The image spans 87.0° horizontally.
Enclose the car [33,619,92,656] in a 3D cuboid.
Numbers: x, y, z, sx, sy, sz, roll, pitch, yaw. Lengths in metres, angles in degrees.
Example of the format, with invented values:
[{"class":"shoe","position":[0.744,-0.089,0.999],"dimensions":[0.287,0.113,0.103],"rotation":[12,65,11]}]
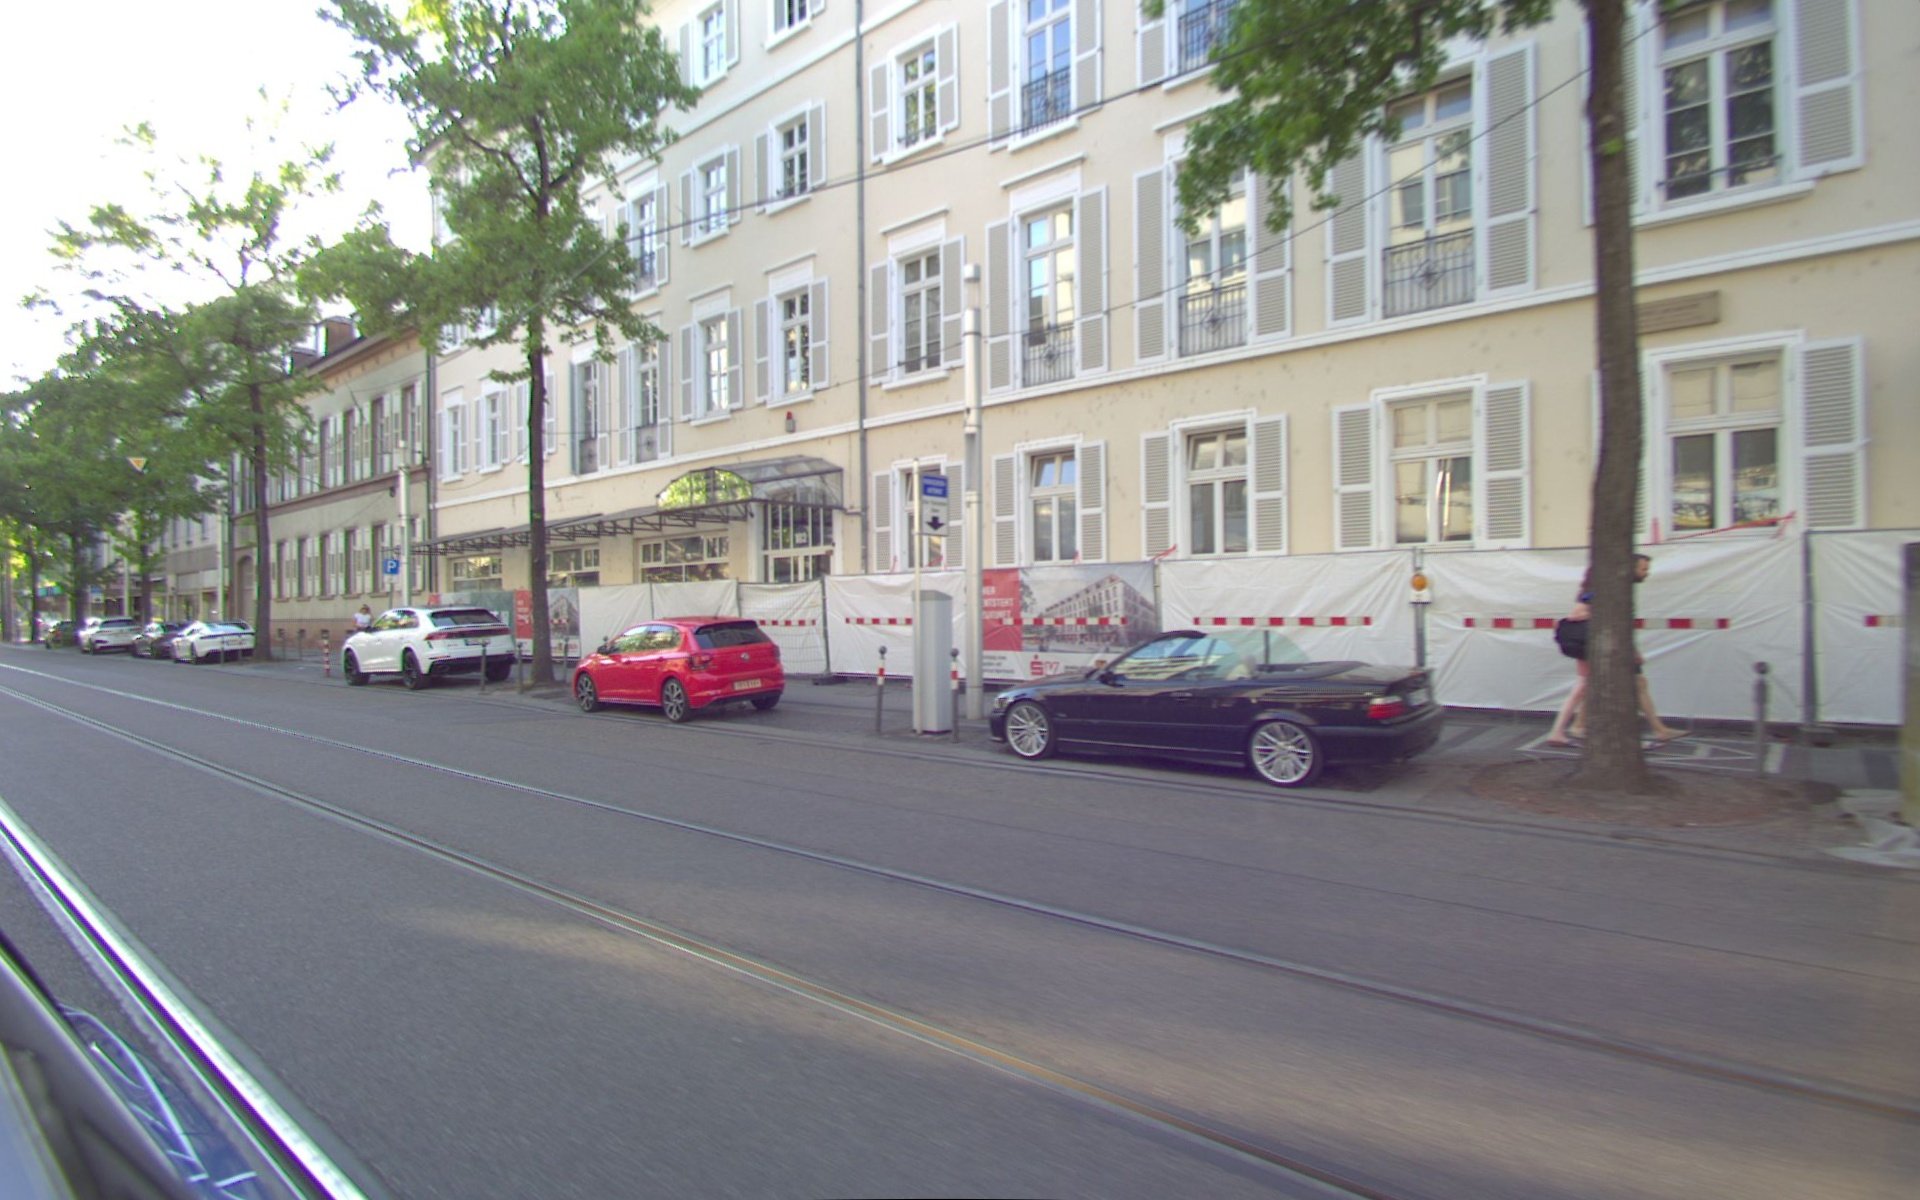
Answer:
[{"class":"car","position":[-50.751,2.112,57.174],"dimensions":[4.763,1.972,1.907],"rotation":[-2,-2,41]}]

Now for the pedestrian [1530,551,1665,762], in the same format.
[{"class":"pedestrian","position":[5.837,0.481,9.259],"dimensions":[0.884,1.795,0.856],"rotation":[-2,2,41]}]

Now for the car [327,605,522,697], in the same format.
[{"class":"car","position":[-11.694,1.045,21.956],"dimensions":[4.945,1.701,1.848],"rotation":[-2,2,38]}]

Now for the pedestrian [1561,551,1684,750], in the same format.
[{"class":"pedestrian","position":[6.452,0.458,9.858],"dimensions":[0.876,1.826,0.712],"rotation":[-2,2,41]}]

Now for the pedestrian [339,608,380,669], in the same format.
[{"class":"pedestrian","position":[-18.004,1.156,30.321],"dimensions":[0.933,1.755,0.736],"rotation":[-2,1,42]}]

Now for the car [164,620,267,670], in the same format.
[{"class":"car","position":[-25.285,1.497,34.310],"dimensions":[4.615,1.477,1.873],"rotation":[-2,2,42]}]

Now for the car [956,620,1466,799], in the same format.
[{"class":"car","position":[2.230,0.892,9.831],"dimensions":[4.505,1.254,1.700],"rotation":[-2,2,41]}]

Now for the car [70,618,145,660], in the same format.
[{"class":"car","position":[-39.756,1.814,47.161],"dimensions":[4.763,1.754,1.927],"rotation":[-2,1,41]}]

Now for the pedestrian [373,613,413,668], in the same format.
[{"class":"pedestrian","position":[-17.255,1.224,30.814],"dimensions":[0.933,1.592,0.736],"rotation":[-2,1,42]}]

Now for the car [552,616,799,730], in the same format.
[{"class":"car","position":[-4.440,1.018,15.472],"dimensions":[4.140,1.416,1.642],"rotation":[-1,2,42]}]

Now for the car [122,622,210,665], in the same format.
[{"class":"car","position":[-31.039,1.692,39.519],"dimensions":[4.337,1.477,1.724],"rotation":[-2,1,39]}]
